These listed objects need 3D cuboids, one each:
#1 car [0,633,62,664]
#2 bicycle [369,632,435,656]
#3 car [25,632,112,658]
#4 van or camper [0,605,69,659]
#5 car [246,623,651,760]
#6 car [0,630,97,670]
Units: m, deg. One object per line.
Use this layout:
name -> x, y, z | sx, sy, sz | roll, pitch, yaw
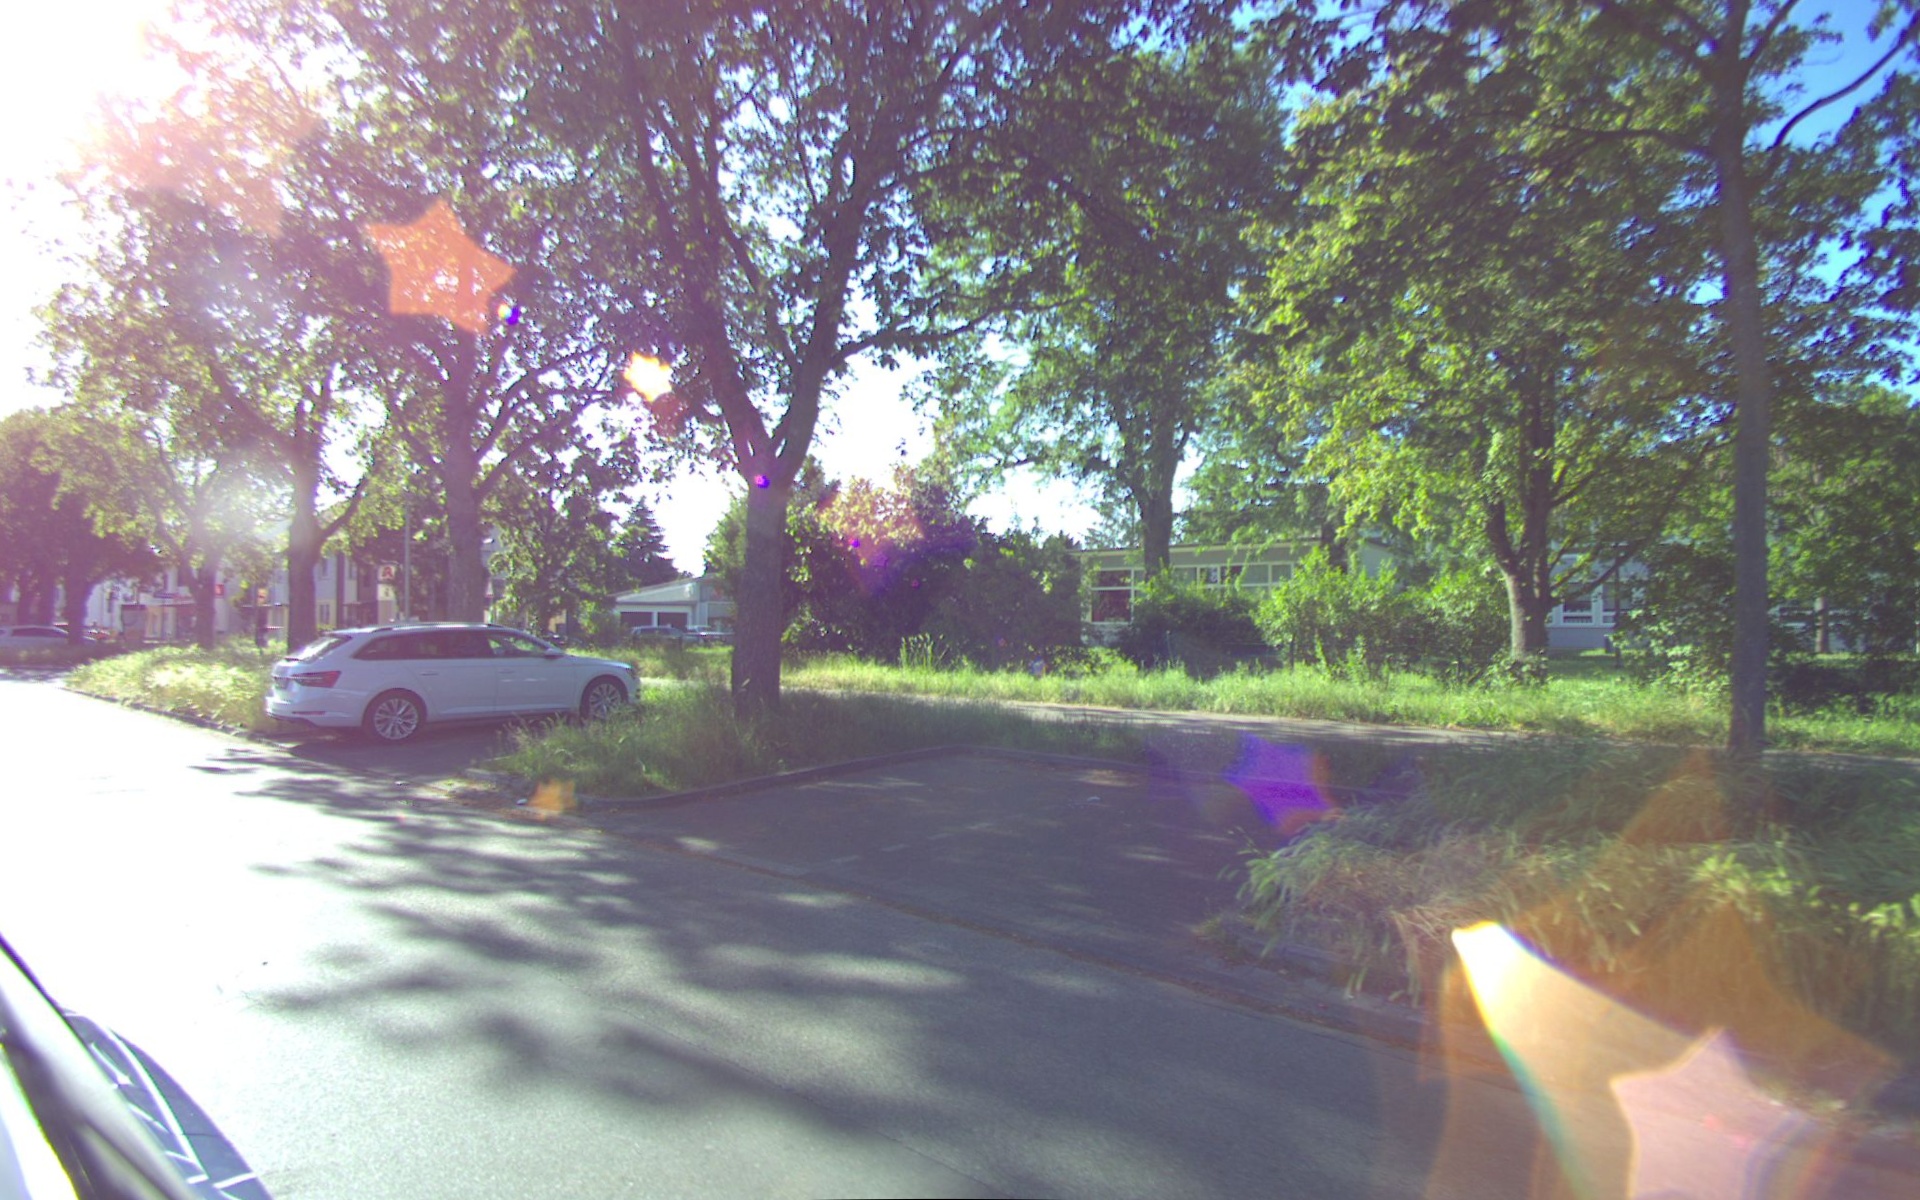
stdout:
car -> -51.261, 2.638, 54.572 | 1.998, 1.469, 3.948 | -1, 1, 39
bicycle -> -28.644, 2.267, 51.918 | 4.033, 1.185, 0.700 | -2, -2, 25
car -> -57.771, 2.888, 65.635 | 1.866, 1.554, 3.952 | -1, 0, 36
van or camper -> -53.573, 1.841, 56.317 | 2.000, 2.826, 5.714 | -1, 2, 43
car -> -6.886, 1.112, 14.035 | 2.000, 1.515, 4.621 | -2, -1, 42
car -> -41.173, 2.214, 45.068 | 1.965, 1.673, 3.947 | -2, -2, 40
